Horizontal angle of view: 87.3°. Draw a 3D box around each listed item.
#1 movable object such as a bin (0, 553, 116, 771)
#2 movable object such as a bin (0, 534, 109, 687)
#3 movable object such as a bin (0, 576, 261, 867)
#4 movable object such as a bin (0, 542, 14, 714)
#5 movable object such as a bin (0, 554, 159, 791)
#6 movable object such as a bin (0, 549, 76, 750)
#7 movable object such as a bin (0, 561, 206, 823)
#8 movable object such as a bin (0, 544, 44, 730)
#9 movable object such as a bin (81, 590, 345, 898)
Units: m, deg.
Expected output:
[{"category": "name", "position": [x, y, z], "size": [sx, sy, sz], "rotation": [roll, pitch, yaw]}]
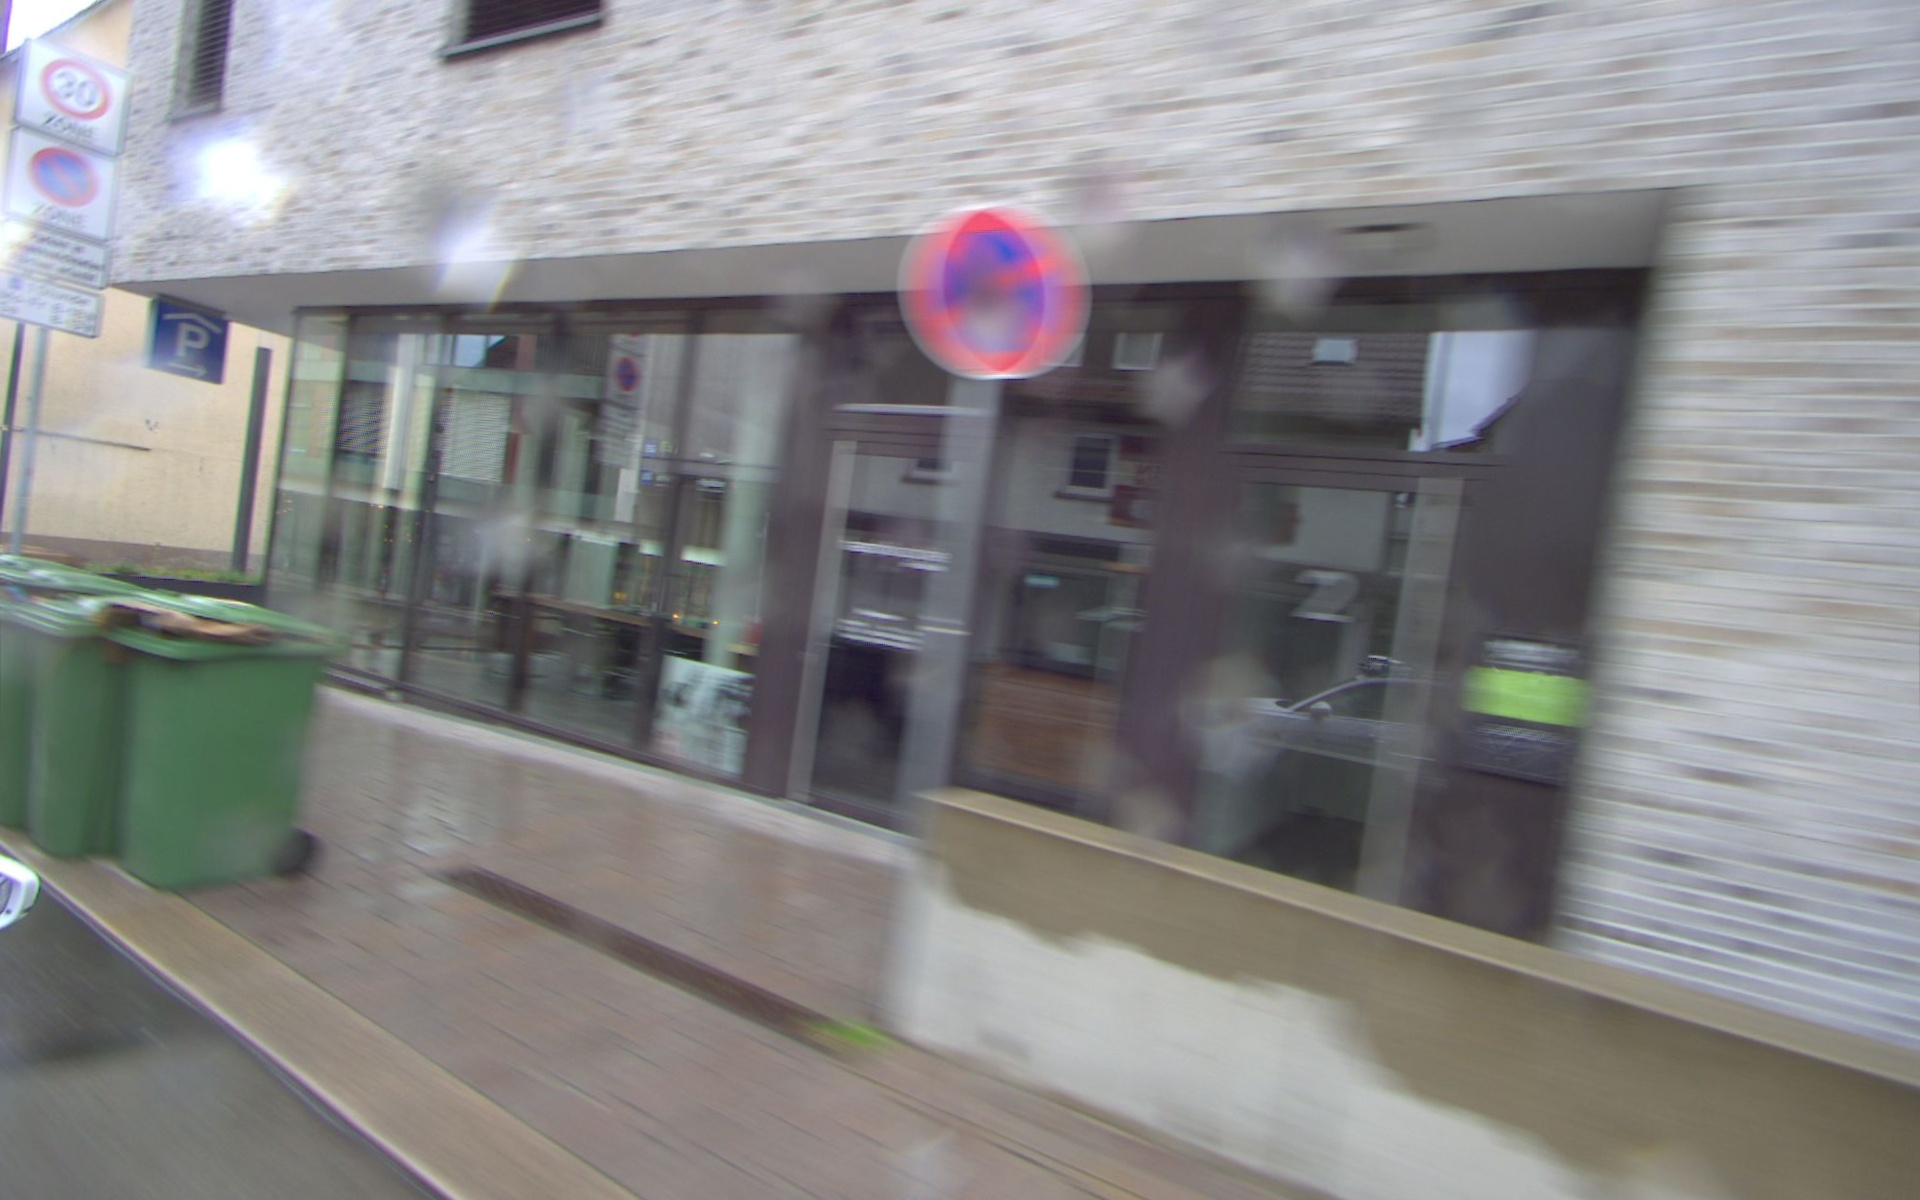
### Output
[{"category": "movable object such as a bin", "position": [-5.179, 0.315, 5.429], "size": [0.571, 1.109, 0.766], "rotation": [7, 2, 33]}, {"category": "movable object such as a bin", "position": [-7.226, 0.075, 7.790], "size": [0.616, 1.109, 0.766], "rotation": [7, 2, 33]}, {"category": "movable object such as a bin", "position": [-3.716, 0.500, 4.471], "size": [0.646, 1.109, 0.740], "rotation": [7, 2, 32]}, {"category": "movable object such as a bin", "position": [-6.656, 0.144, 6.397], "size": [0.571, 1.109, 0.766], "rotation": [7, 2, 33]}, {"category": "movable object such as a bin", "position": [-4.694, 0.348, 5.116], "size": [0.571, 1.109, 0.766], "rotation": [7, 2, 33]}, {"category": "movable object such as a bin", "position": [-5.676, 0.262, 5.743], "size": [0.571, 1.109, 0.766], "rotation": [7, 2, 33]}, {"category": "movable object such as a bin", "position": [-4.201, 0.412, 4.791], "size": [0.571, 1.109, 0.766], "rotation": [7, 2, 33]}, {"category": "movable object such as a bin", "position": [-6.169, 0.198, 6.078], "size": [0.571, 1.109, 0.766], "rotation": [7, 2, 33]}, {"category": "movable object such as a bin", "position": [-3.094, 0.558, 4.190], "size": [0.542, 1.109, 0.663], "rotation": [7, 2, 31]}]
